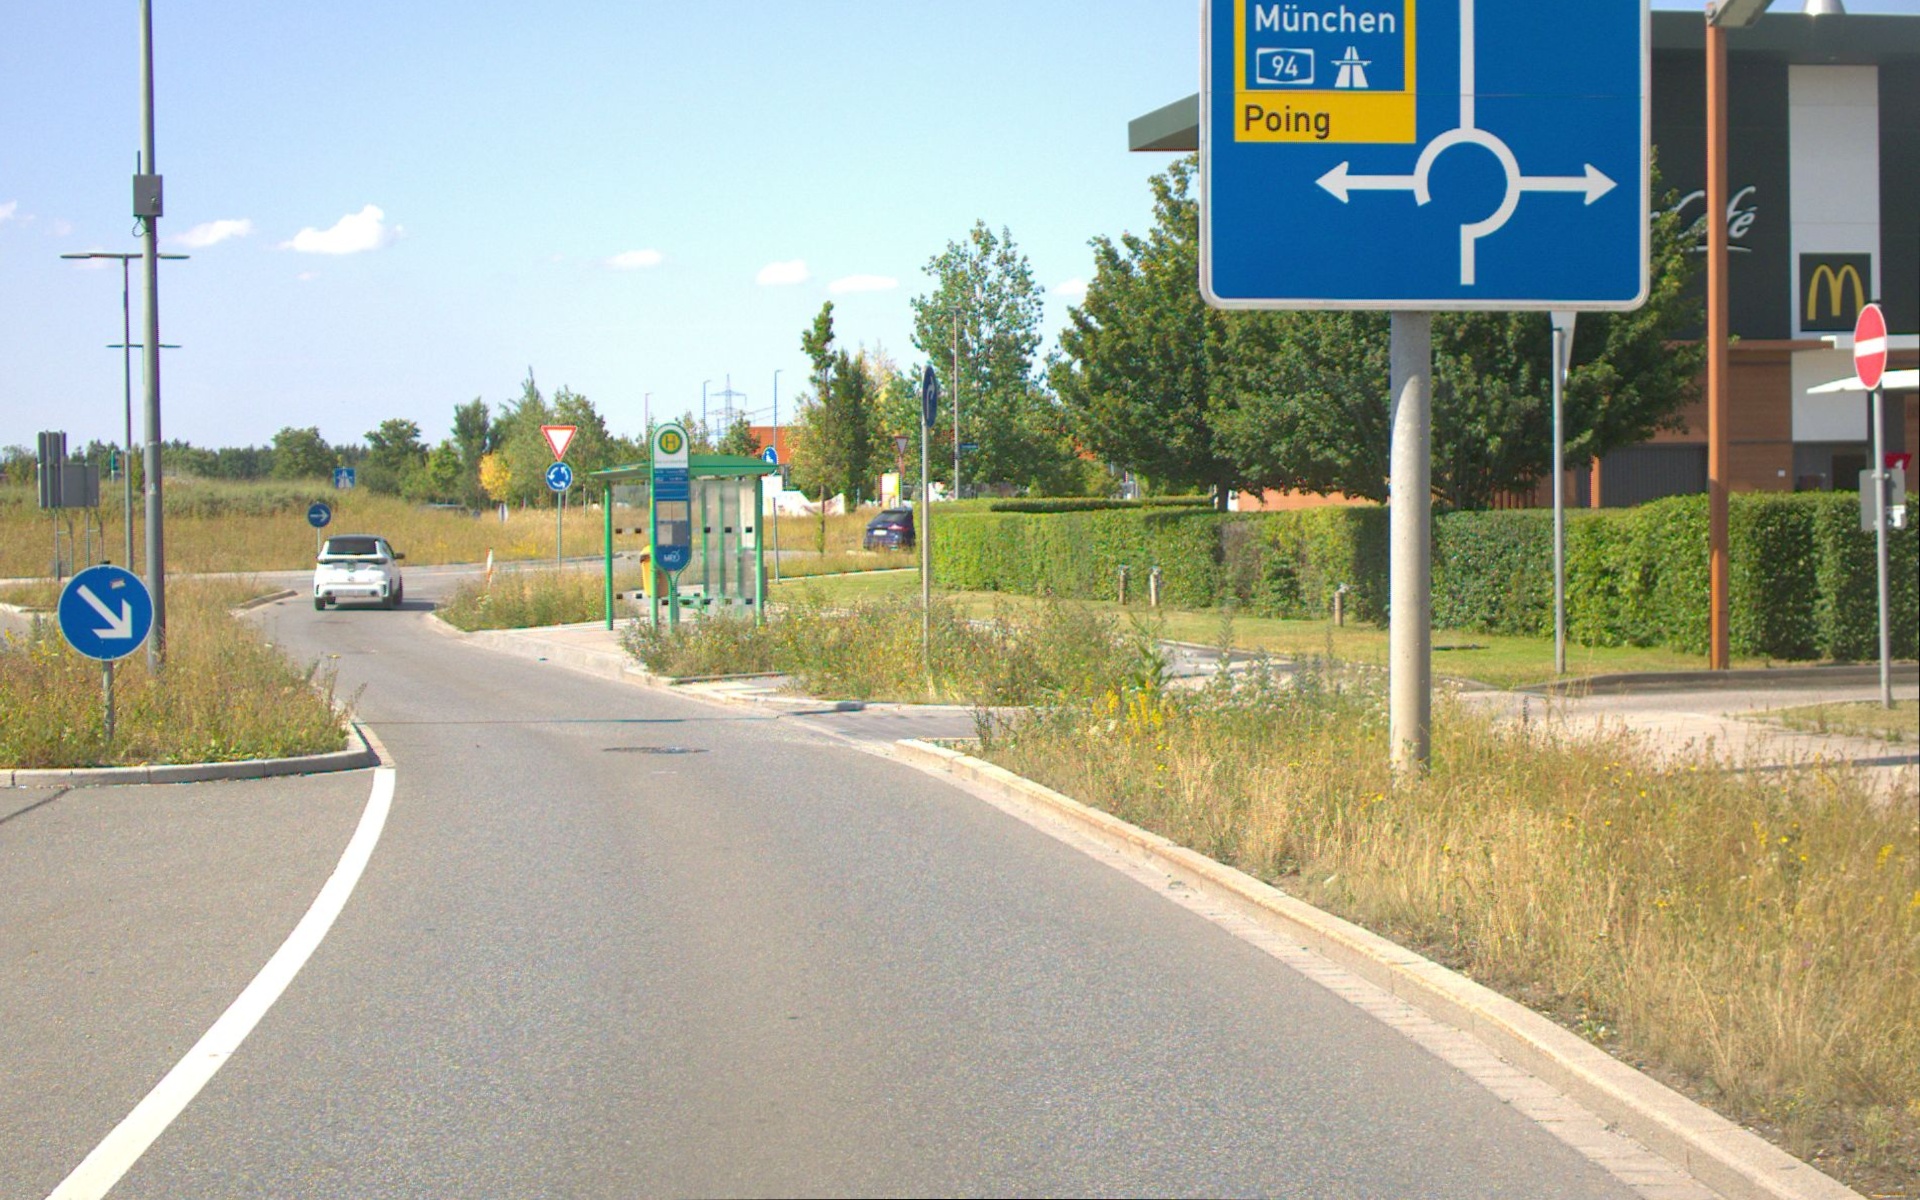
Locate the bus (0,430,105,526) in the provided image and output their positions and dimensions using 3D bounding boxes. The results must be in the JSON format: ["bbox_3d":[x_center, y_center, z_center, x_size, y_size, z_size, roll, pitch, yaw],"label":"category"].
[{"bbox_3d":[-32.586,-3.964,113.253,2.789,3.068,12.196,-1,3,16],"label":"bus"}]

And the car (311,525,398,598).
[{"bbox_3d":[-12.334,-0.801,69.959,1.616,1.429,3.794,-1,1,-12],"label":"car"}]

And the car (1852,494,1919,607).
[{"bbox_3d":[13.037,-0.643,43.349,1.792,1.429,4.001,-1,1,-13],"label":"car"}]
